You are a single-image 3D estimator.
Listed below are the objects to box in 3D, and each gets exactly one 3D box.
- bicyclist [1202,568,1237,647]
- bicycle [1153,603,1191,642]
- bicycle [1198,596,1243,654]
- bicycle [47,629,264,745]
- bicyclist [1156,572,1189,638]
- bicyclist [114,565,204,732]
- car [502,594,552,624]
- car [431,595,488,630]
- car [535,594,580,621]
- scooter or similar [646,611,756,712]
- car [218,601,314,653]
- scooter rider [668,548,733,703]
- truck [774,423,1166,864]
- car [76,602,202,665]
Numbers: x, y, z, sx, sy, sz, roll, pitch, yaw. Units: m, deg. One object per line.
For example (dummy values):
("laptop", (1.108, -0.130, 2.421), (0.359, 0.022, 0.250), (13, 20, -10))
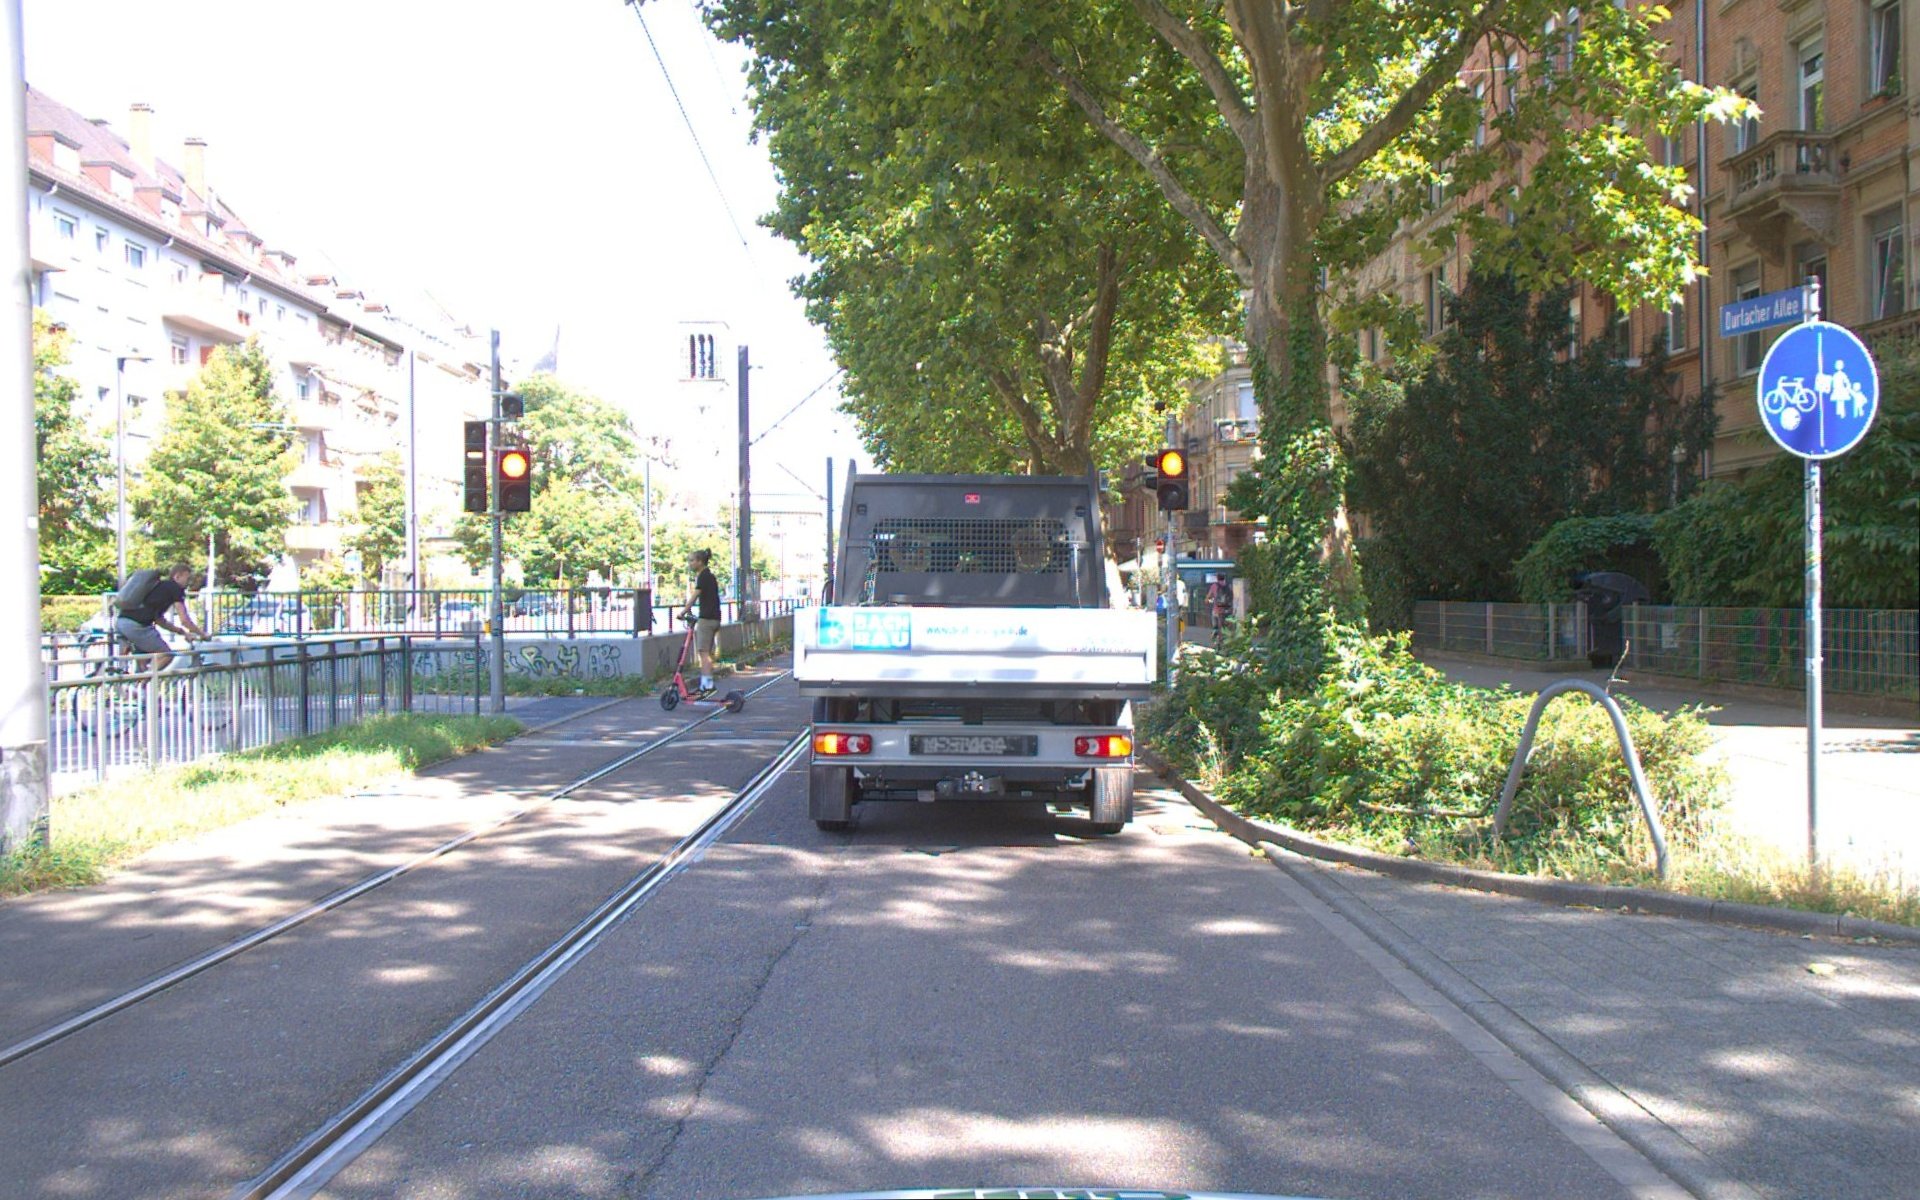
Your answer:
("bicyclist", (5.349, 0.150, 34.080), (0.625, 1.601, 0.579), (-1, 0, 0))
("bicycle", (5.194, 0.533, 40.605), (0.661, 0.897, 2.163), (-1, 0, 0))
("bicycle", (5.344, 0.486, 34.042), (0.553, 1.131, 2.310), (-1, 0, 0))
("bicycle", (-8.146, 0.854, 16.802), (1.908, 1.067, 0.525), (-1, 0, -40))
("bicyclist", (5.193, 0.111, 40.445), (0.666, 1.591, 0.777), (-1, 0, 0))
("bicyclist", (-8.147, 0.479, 16.816), (0.688, 1.651, 0.615), (-1, 0, -40))
("car", (-23.038, 0.467, 88.140), (1.735, 1.524, 3.998), (-1, 0, -2))
("car", (-22.521, 0.533, 74.511), (1.737, 1.524, 3.994), (-1, 0, -7))
("car", (-23.328, 0.427, 95.972), (1.735, 1.524, 3.998), (-1, 0, -2))
("scooter or similar", (-3.215, 0.758, 20.609), (1.240, 1.225, 0.657), (-1, 0, 2))
("car", (-22.234, 0.830, 53.148), (1.737, 1.524, 3.994), (-2, 0, -7))
("scooter rider", (-3.227, 0.308, 20.611), (0.653, 1.899, 0.664), (-1, 0, 2))
("truck", (0.059, 0.224, 11.231), (2.094, 2.359, 4.401), (1, 0, 0))
("car", (-22.042, 0.872, 44.571), (1.737, 1.524, 3.994), (-2, 0, -7))
